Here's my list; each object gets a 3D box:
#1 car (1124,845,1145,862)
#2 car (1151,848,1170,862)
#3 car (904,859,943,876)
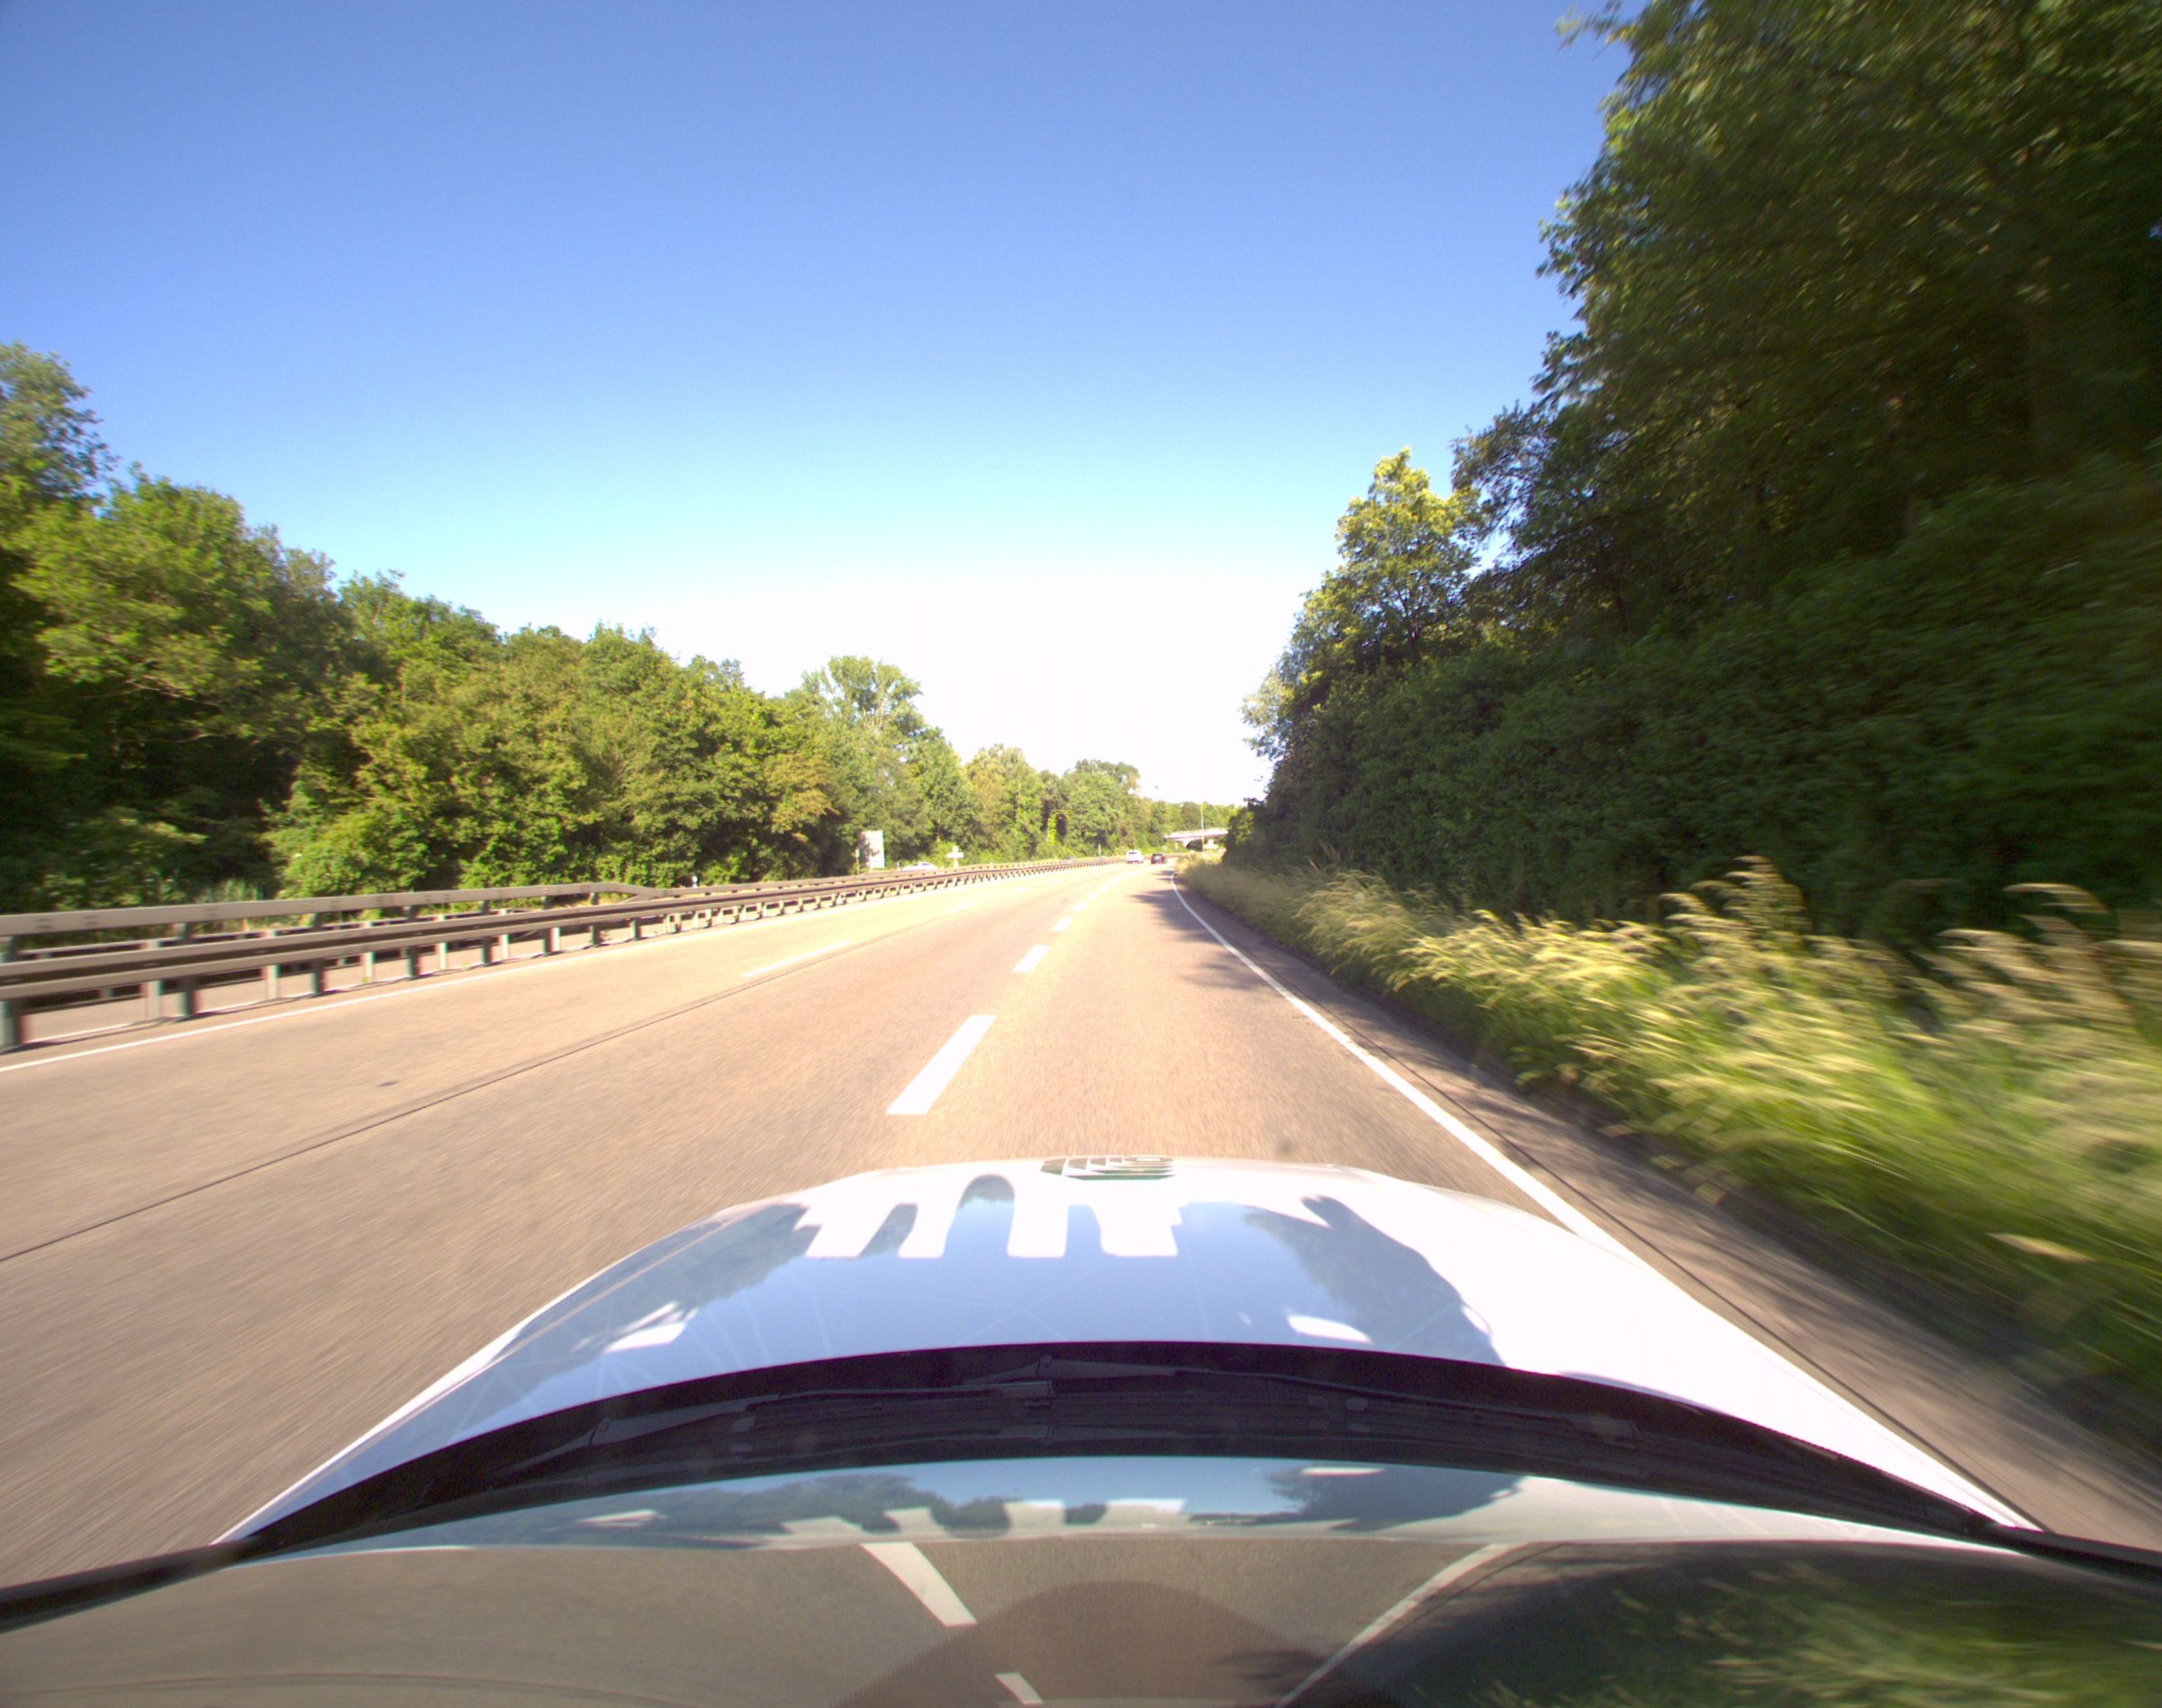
[{"bbox_3d":[7.317,-0.112,111.714,1.978,2.277,4.018,-2,0,17],"label":"car"},{"bbox_3d":[10.490,0.104,107.128,1.726,1.662,3.963,-2,0,16],"label":"car"},{"bbox_3d":[-18.909,1.643,97.840,1.974,2.014,4.657,-2,-1,32],"label":"car"}]
